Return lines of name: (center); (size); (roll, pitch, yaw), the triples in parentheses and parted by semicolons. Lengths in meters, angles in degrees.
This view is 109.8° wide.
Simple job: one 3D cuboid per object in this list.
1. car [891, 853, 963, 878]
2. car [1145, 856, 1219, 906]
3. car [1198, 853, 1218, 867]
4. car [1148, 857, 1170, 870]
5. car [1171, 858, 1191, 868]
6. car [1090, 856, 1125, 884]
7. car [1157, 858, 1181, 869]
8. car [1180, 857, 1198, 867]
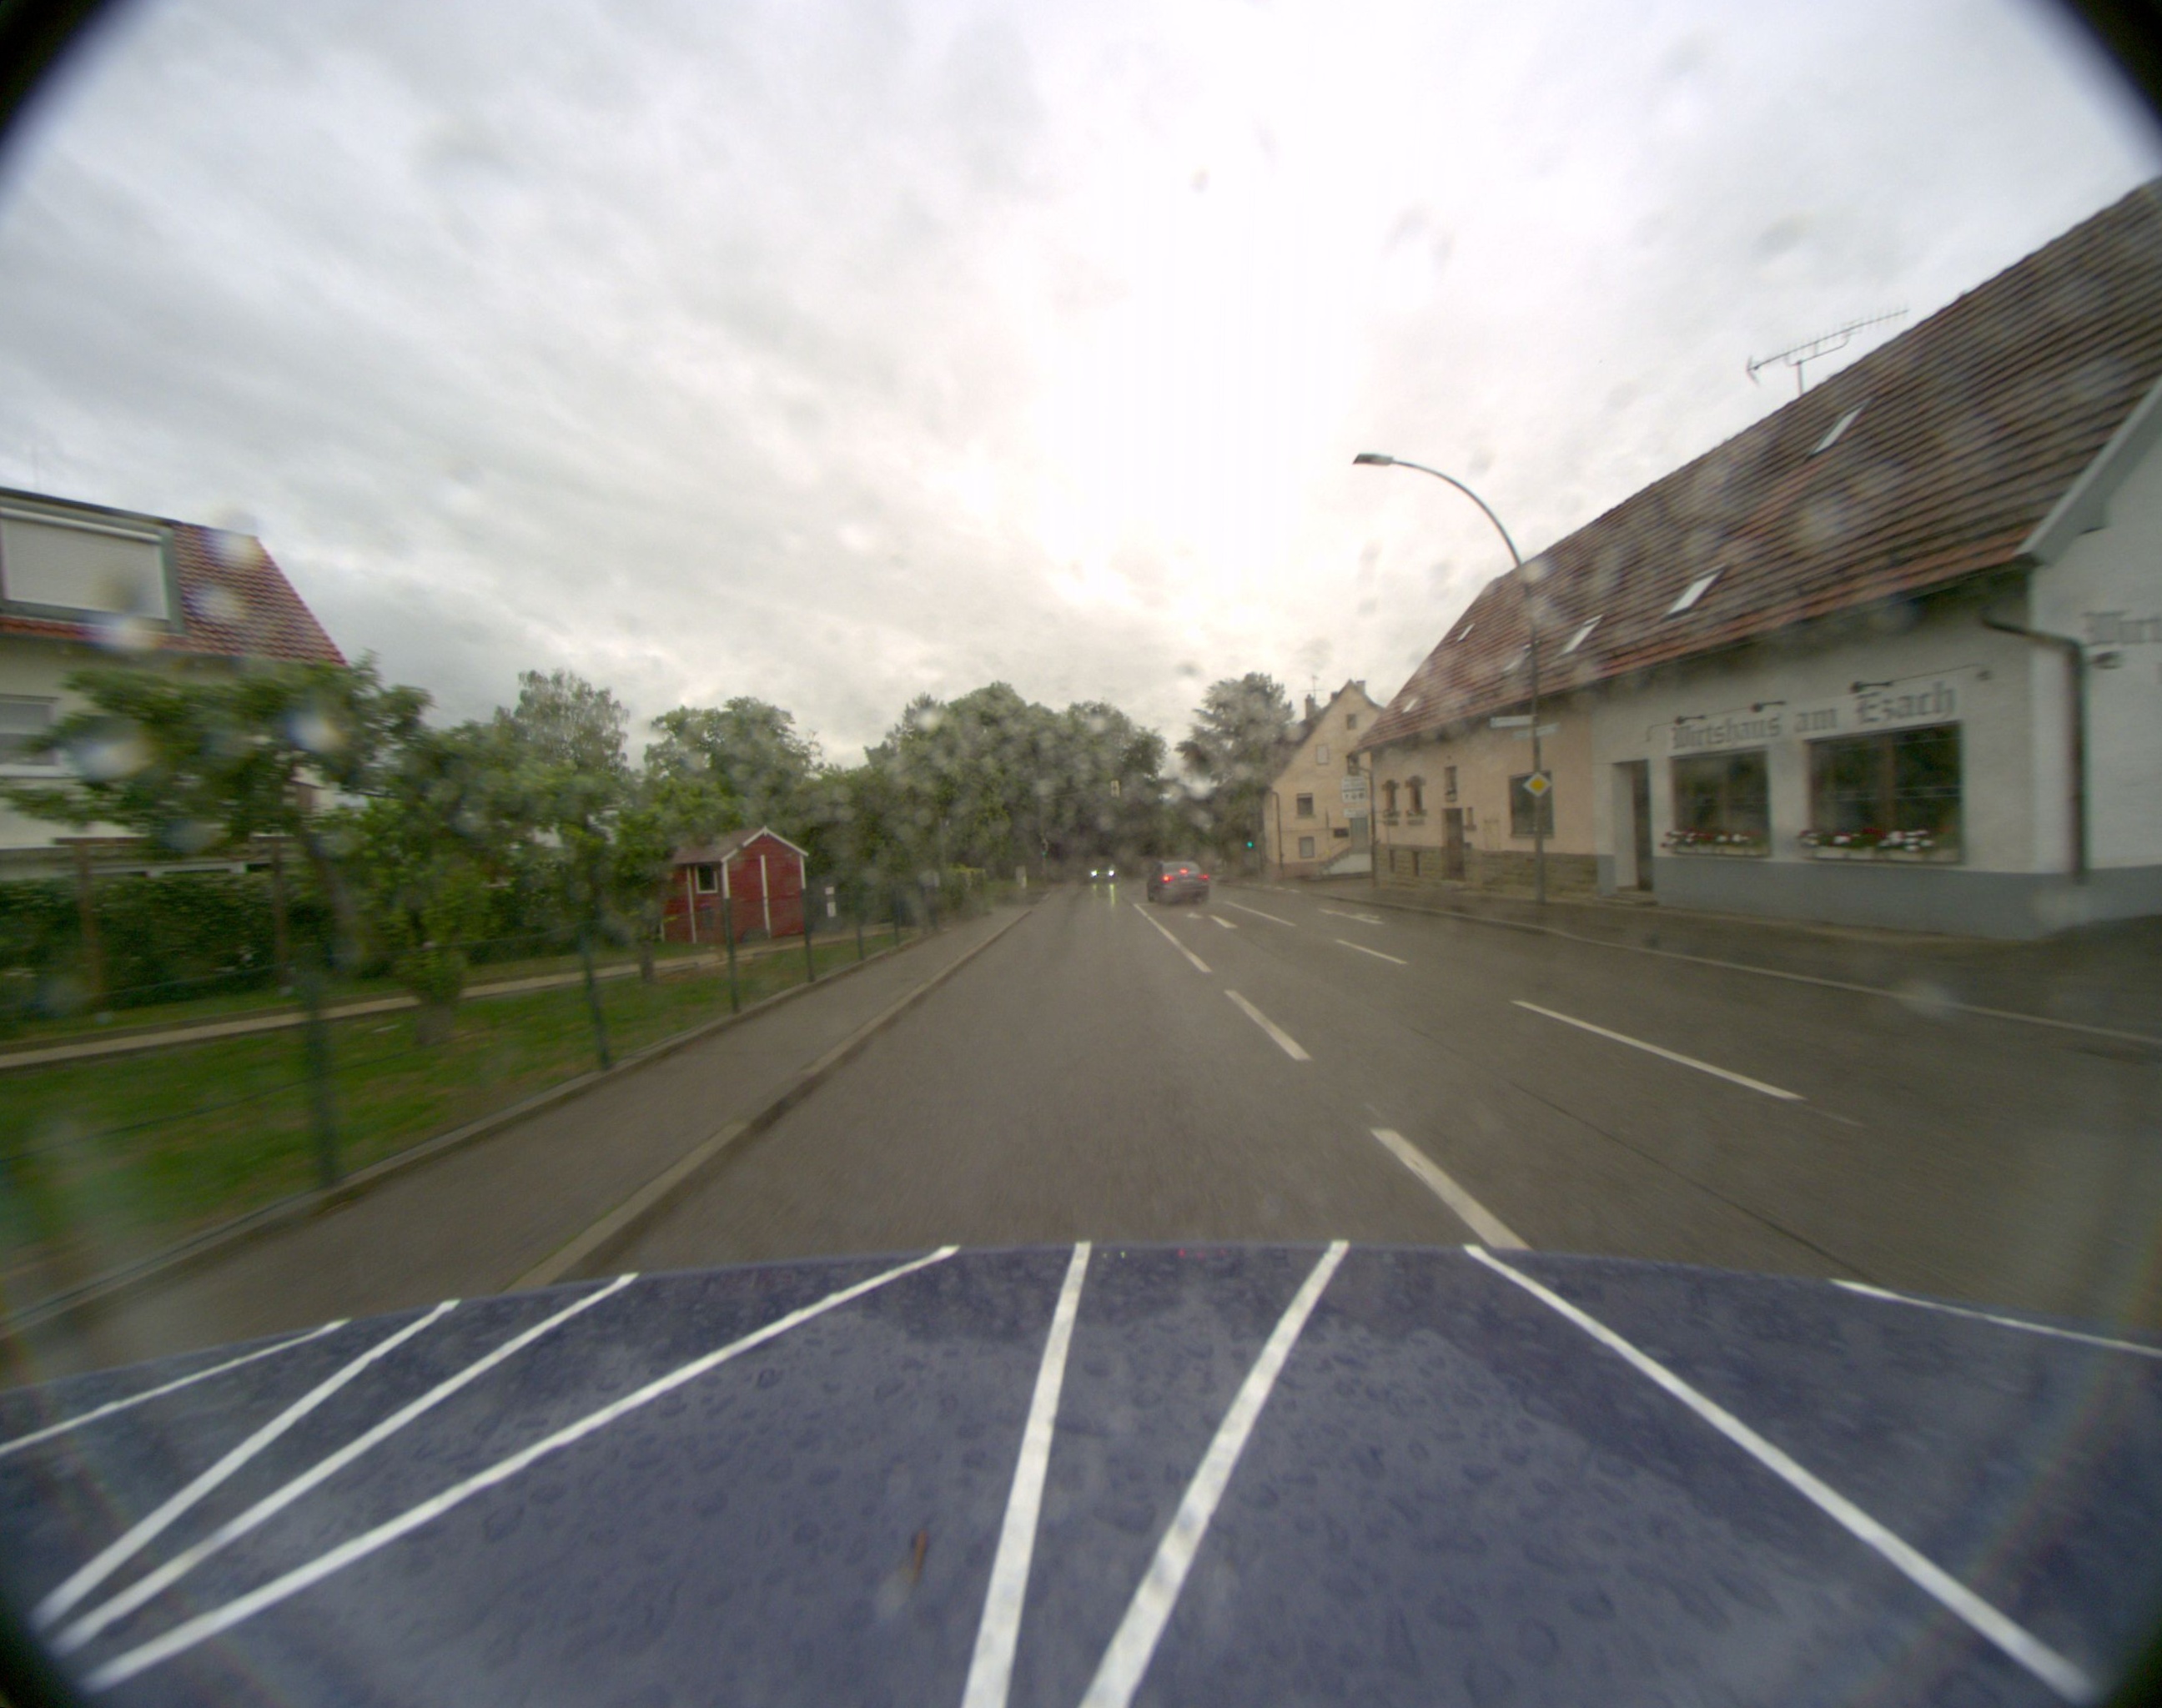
car: (-9.523, 0.718, 47.002); (3.990, 1.447, 1.857); (-1, 0, 24)
car: (3.516, 0.919, 27.295); (1.949, 1.564, 4.226); (-2, 0, -2)
car: (16.674, 0.812, 99.600); (1.996, 1.696, 4.006); (-2, 0, 19)
car: (9.757, 1.152, 95.293); (1.791, 1.524, 3.806); (-1, 0, 20)
car: (13.958, 1.217, 106.153); (1.761, 1.410, 4.160); (-1, 0, 21)
car: (2.181, 1.269, 61.274); (1.996, 2.002, 4.003); (-3, 1, 14)
car: (11.682, 1.219, 100.670); (1.995, 1.410, 4.491); (-1, 0, 21)
car: (15.867, 1.215, 111.142); (1.761, 1.410, 4.159); (-1, 0, 20)
